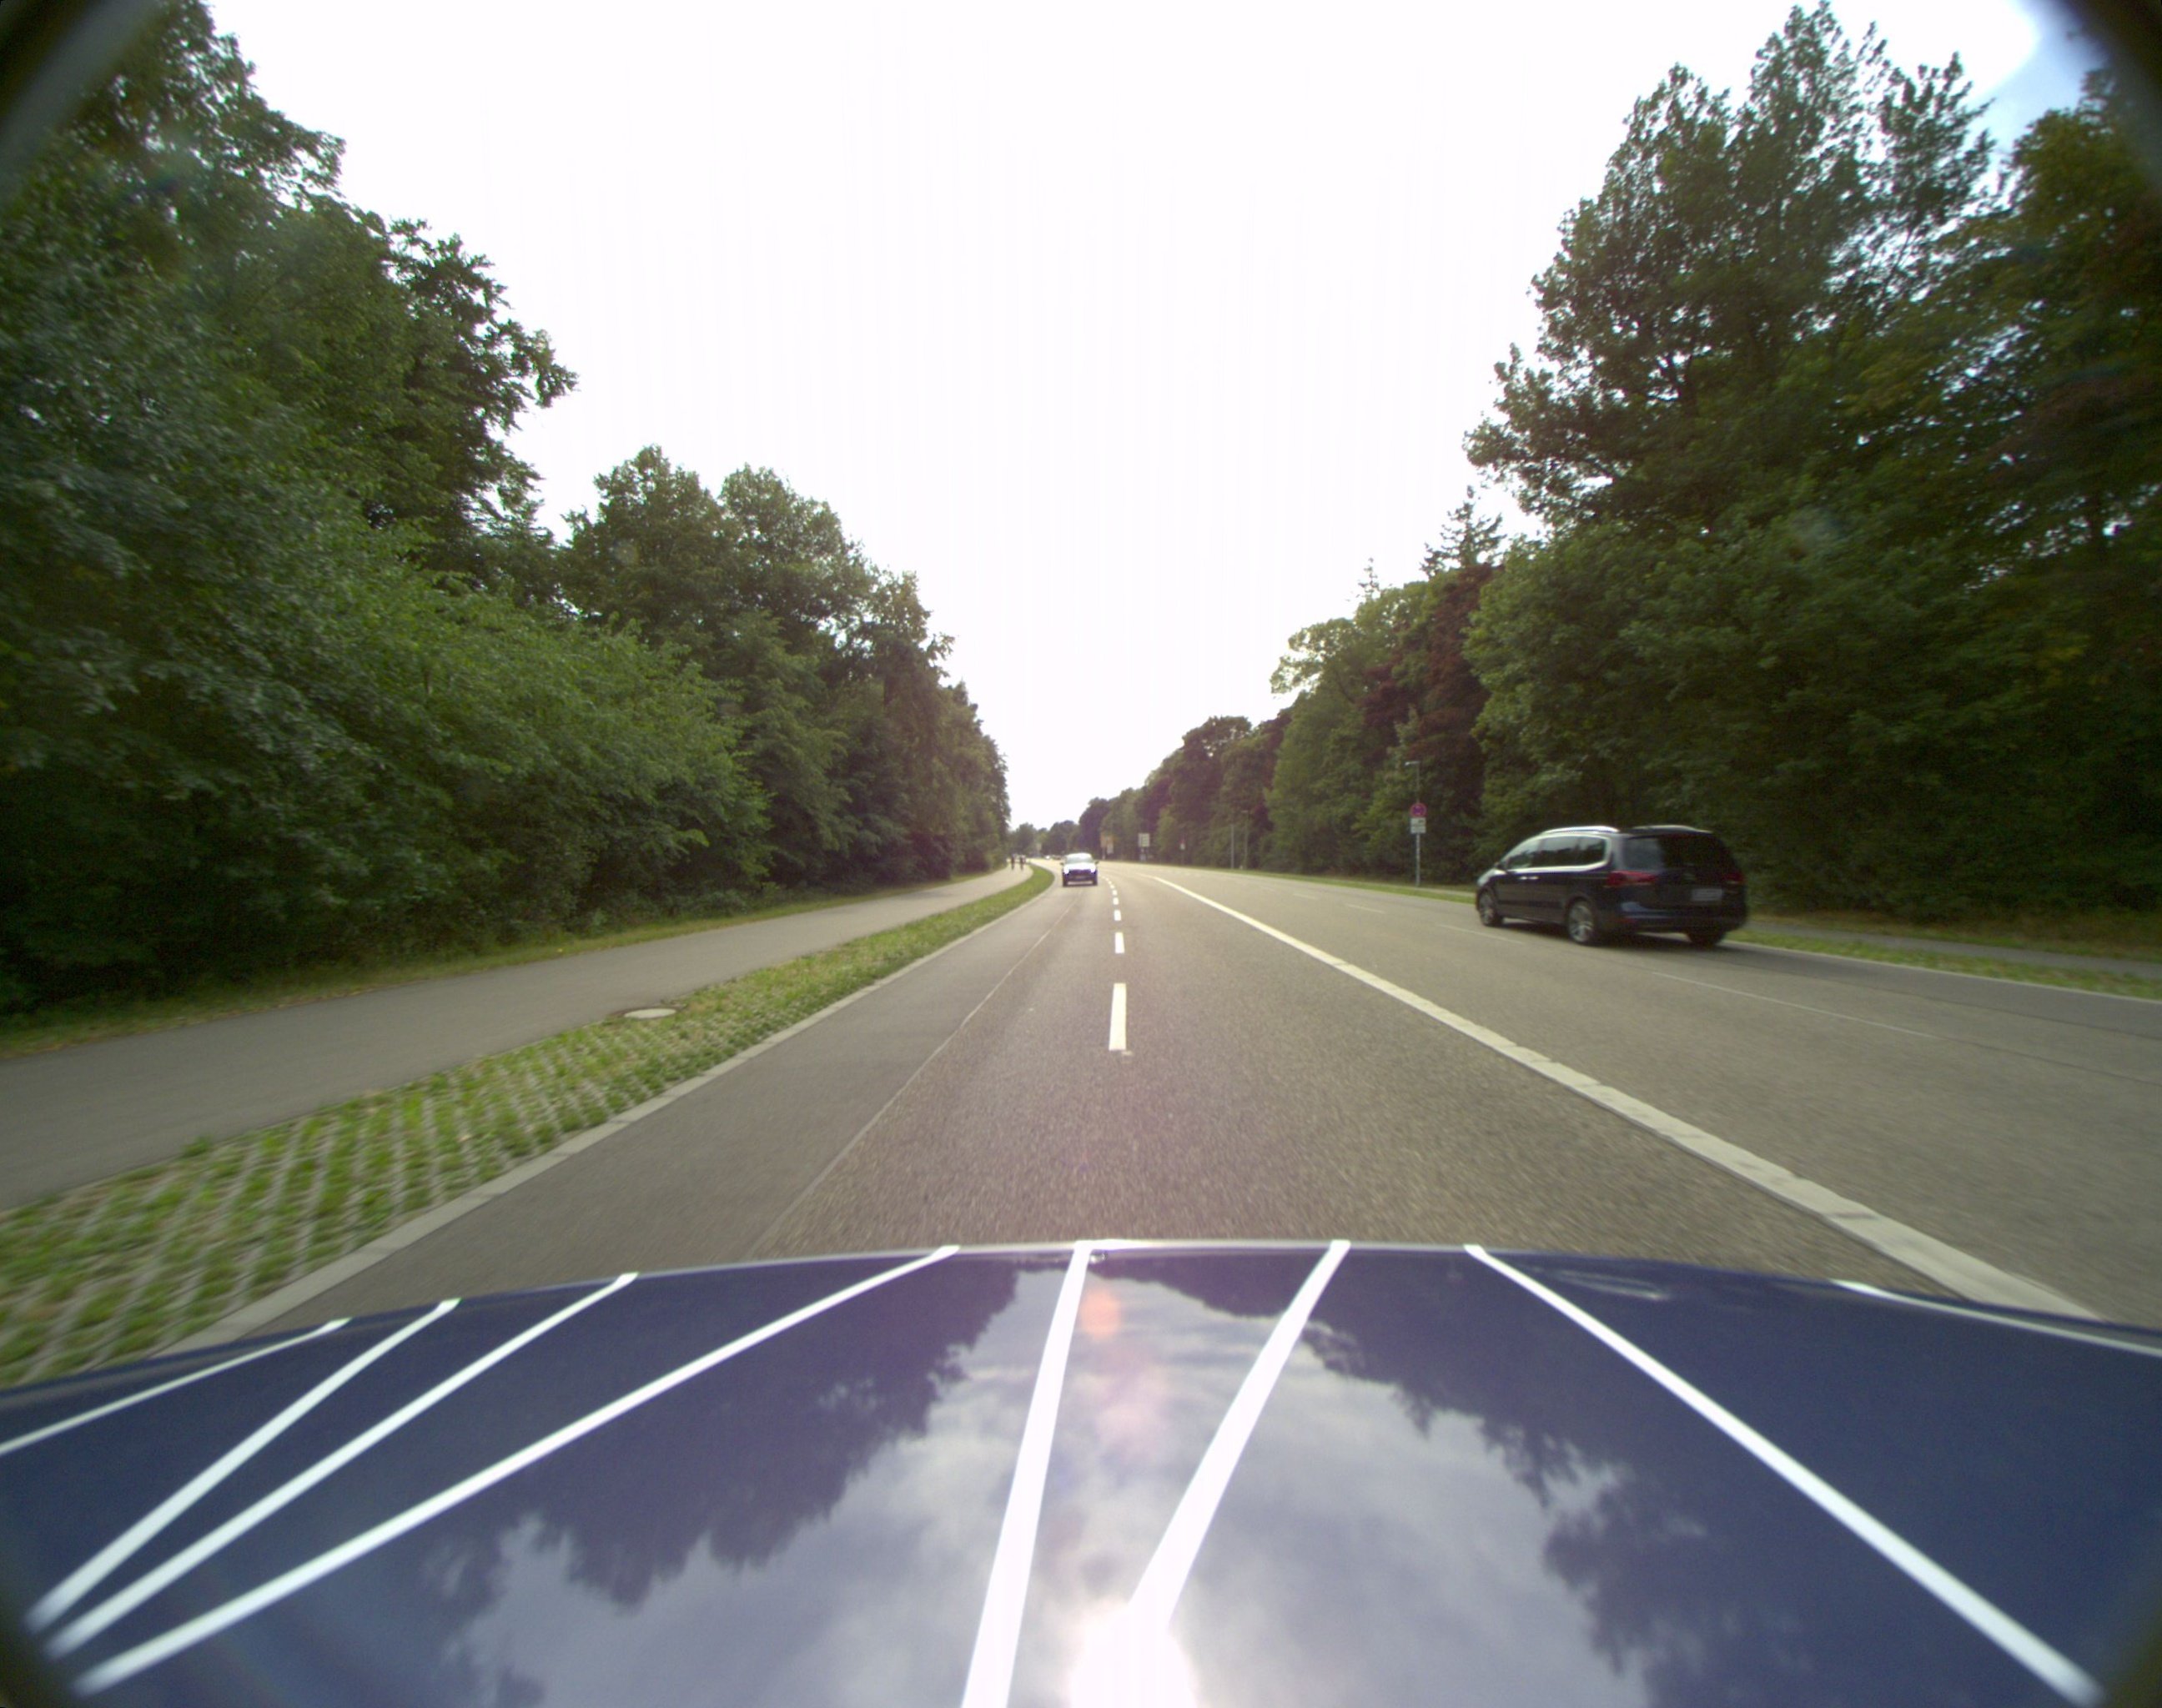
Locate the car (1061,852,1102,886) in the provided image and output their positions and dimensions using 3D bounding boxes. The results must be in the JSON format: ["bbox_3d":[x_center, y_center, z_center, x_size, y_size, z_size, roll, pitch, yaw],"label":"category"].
[{"bbox_3d":[-0.029,0.771,40.853,1.999,1.565,3.999,-3,1,-1],"label":"car"}]

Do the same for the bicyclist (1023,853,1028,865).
[{"bbox_3d":[-6.322,0.573,85.993,0.521,1.407,1.186,-1,1,-6],"label":"bicyclist"}]

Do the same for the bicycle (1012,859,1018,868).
[{"bbox_3d":[-7.433,1.086,85.924,0.567,0.906,1.886,2,-1,-6],"label":"bicycle"}]

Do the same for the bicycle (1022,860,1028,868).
[{"bbox_3d":[-6.333,1.123,86.056,0.567,0.906,1.753,1,0,-6],"label":"bicycle"}]

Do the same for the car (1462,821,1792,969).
[{"bbox_3d":[8.114,0.486,12.020,1.998,1.780,4.748,-3,1,4],"label":"car"}]

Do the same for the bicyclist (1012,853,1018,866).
[{"bbox_3d":[-7.452,0.596,85.934,0.521,1.407,1.186,-3,1,-6],"label":"bicyclist"}]
